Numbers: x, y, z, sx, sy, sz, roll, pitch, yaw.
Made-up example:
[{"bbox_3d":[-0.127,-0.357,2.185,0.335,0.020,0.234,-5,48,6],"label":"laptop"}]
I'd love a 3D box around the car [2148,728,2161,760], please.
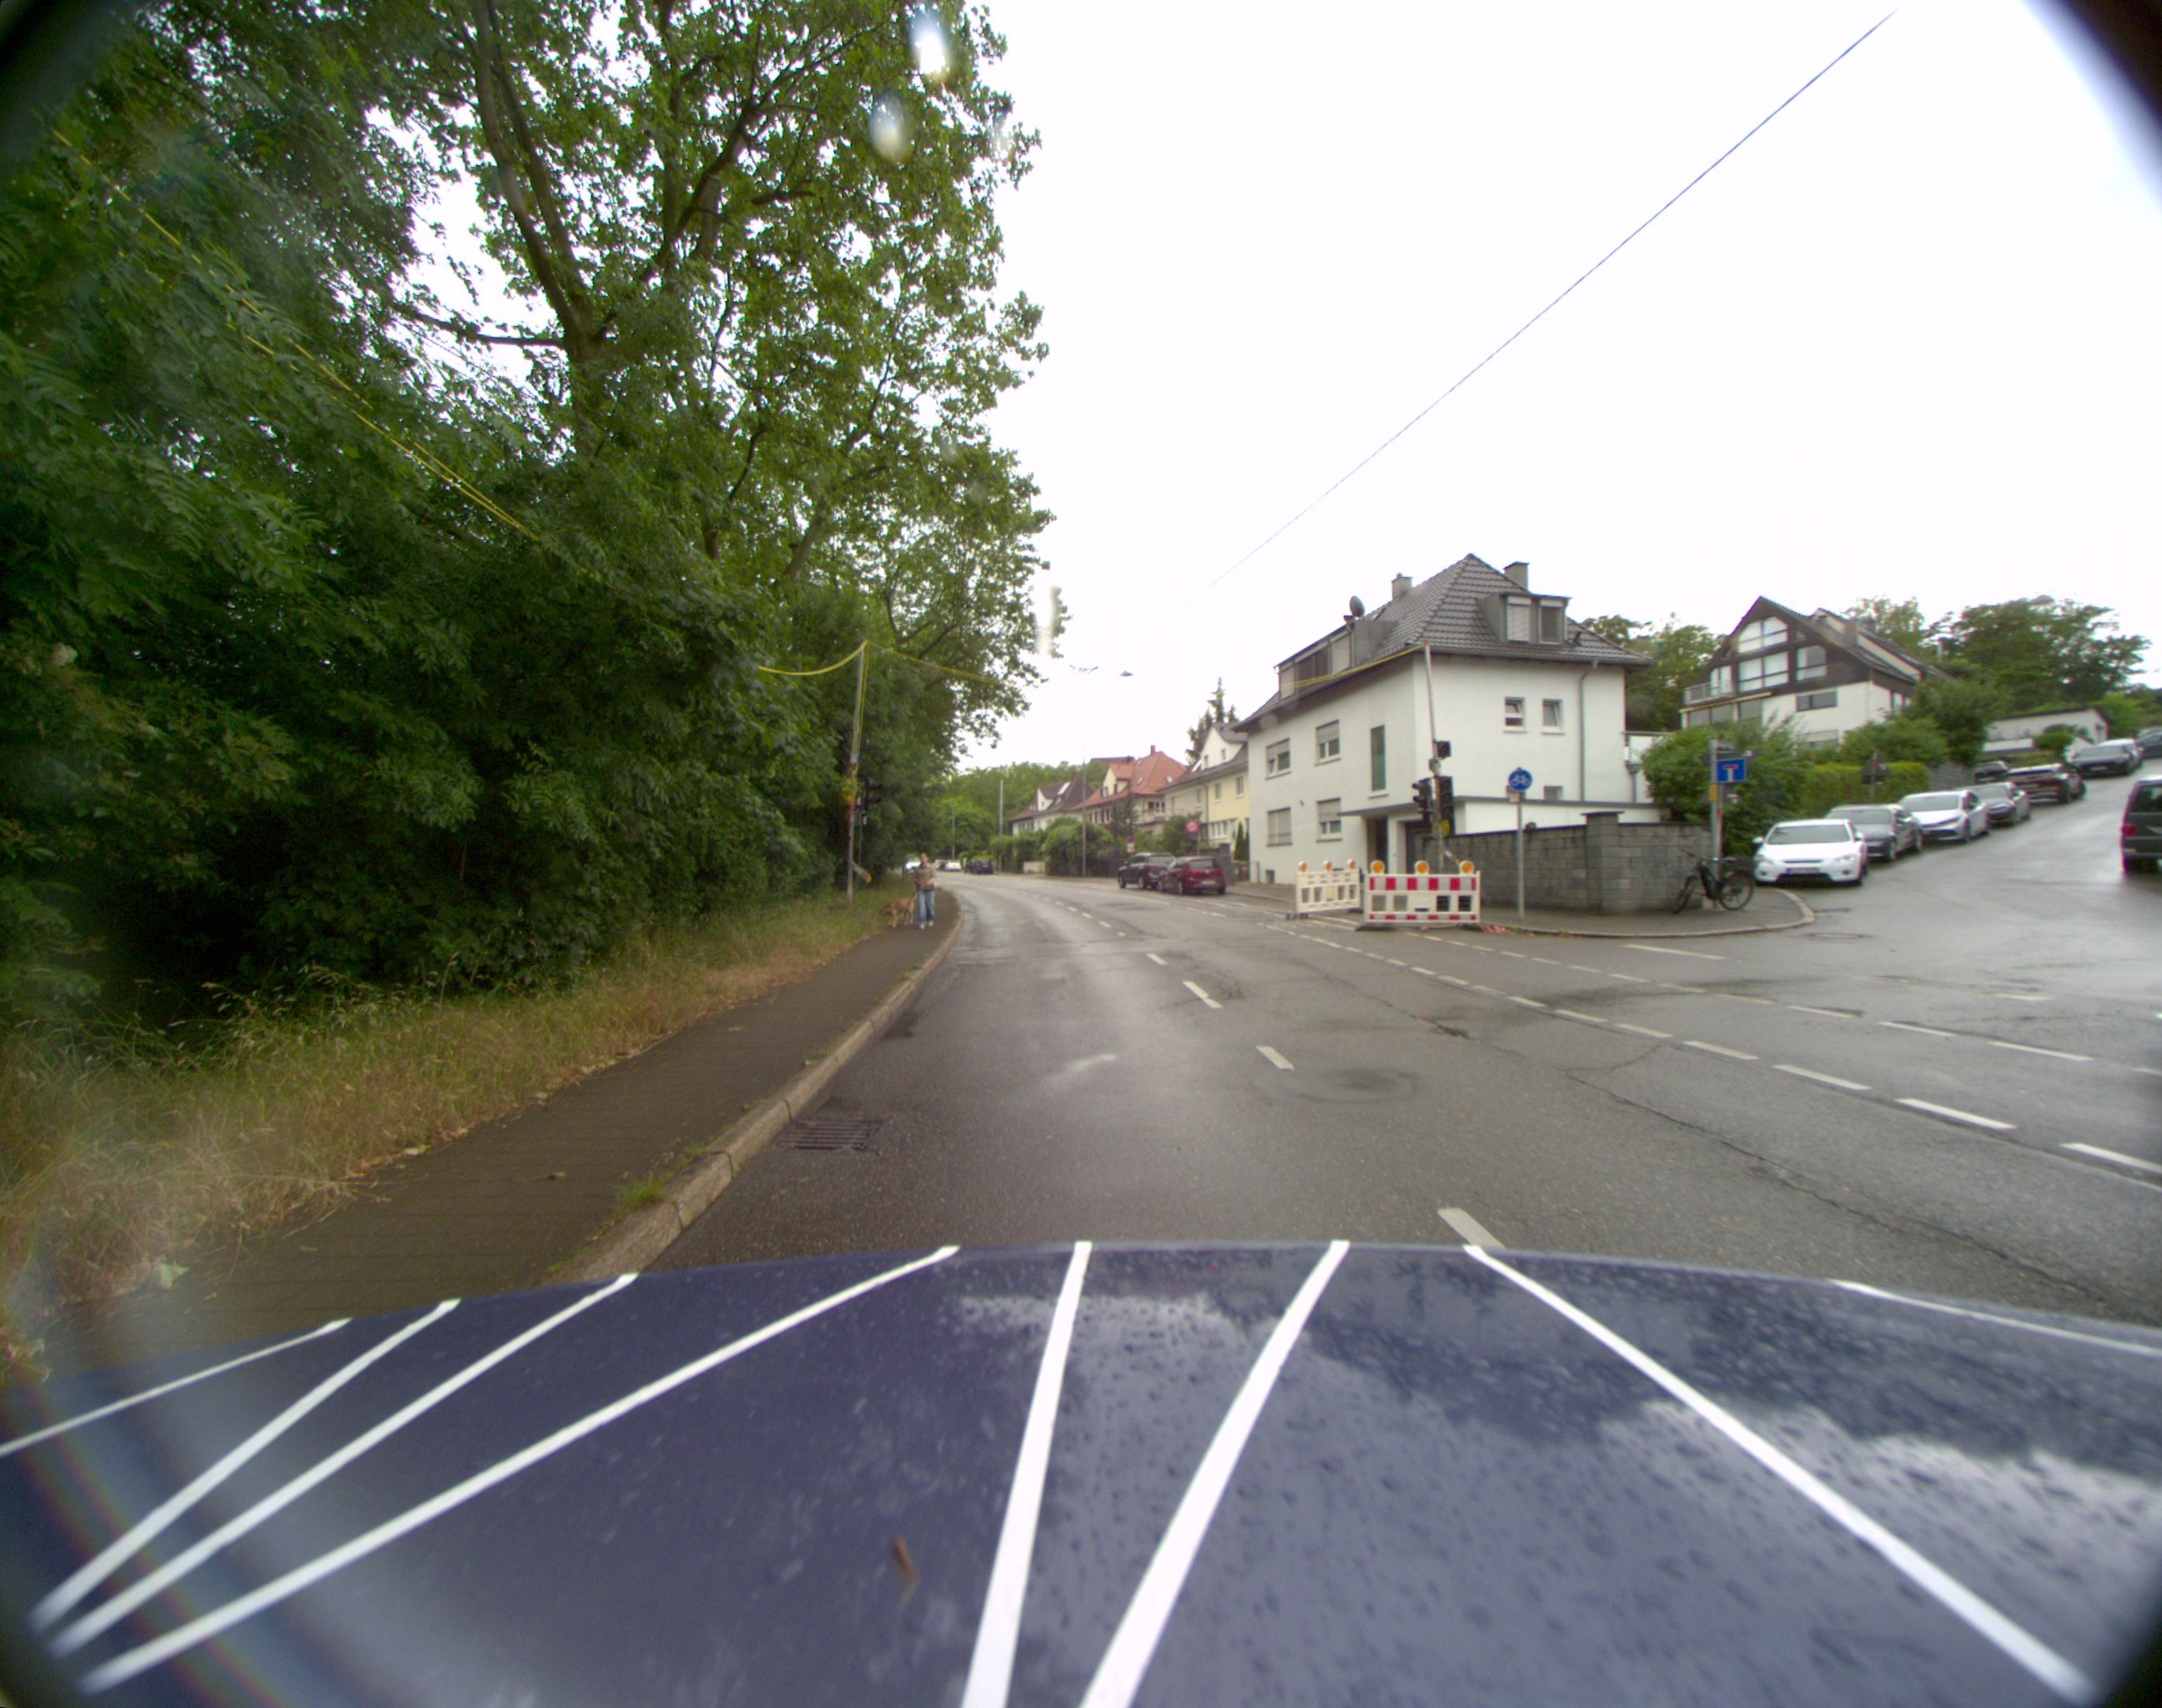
[{"bbox_3d":[72.469,-7.442,48.985,2.003,2.000,3.993,-2,-4,-32],"label":"car"}]

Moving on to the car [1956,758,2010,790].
[{"bbox_3d":[52.871,-4.646,44.521,4.020,1.545,1.812,-3,1,-37],"label":"car"}]

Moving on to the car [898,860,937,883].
[{"bbox_3d":[-14.129,1.476,65.536,2.106,1.908,5.080,-2,0,-26],"label":"car"}]

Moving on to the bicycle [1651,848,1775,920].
[{"bbox_3d":[11.590,0.538,13.940,2.006,1.233,0.510,-2,3,-8],"label":"bicycle"}]

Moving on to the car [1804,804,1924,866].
[{"bbox_3d":[22.466,-0.556,21.763,3.910,1.380,1.719,-7,3,-34],"label":"car"}]

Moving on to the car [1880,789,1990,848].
[{"bbox_3d":[27.272,-1.150,24.236,3.951,1.462,1.755,-7,3,-33],"label":"car"}]

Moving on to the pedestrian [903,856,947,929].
[{"bbox_3d":[-3.260,0.788,15.931,0.735,1.490,0.785,-1,1,-1],"label":"pedestrian"}]

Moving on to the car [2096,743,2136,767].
[{"bbox_3d":[59.841,-5.738,43.901,2.988,1.191,1.305,-6,3,-35],"label":"car"}]

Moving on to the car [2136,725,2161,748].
[{"bbox_3d":[81.123,-8.862,55.962,1.754,1.508,3.961,-3,1,-35],"label":"car"}]

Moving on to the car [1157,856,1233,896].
[{"bbox_3d":[4.385,0.817,29.911,1.787,1.423,3.844,-2,0,-10],"label":"car"}]

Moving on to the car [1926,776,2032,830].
[{"bbox_3d":[32.330,-1.829,27.338,4.111,1.430,1.921,-9,4,-33],"label":"car"}]

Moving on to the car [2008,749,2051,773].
[{"bbox_3d":[57.243,-5.634,45.869,3.656,1.205,1.577,-7,3,-38],"label":"car"}]

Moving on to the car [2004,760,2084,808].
[{"bbox_3d":[40.722,-2.980,32.116,4.004,1.617,1.638,-8,4,-32],"label":"car"}]

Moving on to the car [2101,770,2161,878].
[{"bbox_3d":[23.885,-0.749,16.266,4.497,2.003,1.996,-7,3,-31],"label":"car"}]

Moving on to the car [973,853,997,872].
[{"bbox_3d":[-9.605,0.836,75.961,1.882,1.814,4.121,-2,0,-14],"label":"car"}]

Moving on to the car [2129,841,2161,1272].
[{"bbox_3d":[4.847,0.701,0.390,1.858,1.518,4.817,-2,1,-3],"label":"car"}]

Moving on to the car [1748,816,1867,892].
[{"bbox_3d":[17.779,-0.047,18.542,4.126,1.455,1.849,-7,4,-43],"label":"car"}]

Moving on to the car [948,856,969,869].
[{"bbox_3d":[-15.230,1.063,94.182,2.071,1.477,4.556,-2,0,-16],"label":"car"}]

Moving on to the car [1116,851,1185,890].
[{"bbox_3d":[3.133,0.730,35.039,1.798,1.630,4.150,-1,0,-15],"label":"car"}]

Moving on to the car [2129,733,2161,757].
[{"bbox_3d":[68.329,-6.932,47.701,1.286,1.310,2.945,-3,1,-36],"label":"car"}]

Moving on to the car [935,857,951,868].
[{"bbox_3d":[-18.738,1.122,103.017,1.691,1.419,3.770,-2,0,-17],"label":"car"}]

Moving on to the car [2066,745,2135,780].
[{"bbox_3d":[54.819,-4.875,40.844,4.034,1.511,1.786,-2,0,-31],"label":"car"}]
